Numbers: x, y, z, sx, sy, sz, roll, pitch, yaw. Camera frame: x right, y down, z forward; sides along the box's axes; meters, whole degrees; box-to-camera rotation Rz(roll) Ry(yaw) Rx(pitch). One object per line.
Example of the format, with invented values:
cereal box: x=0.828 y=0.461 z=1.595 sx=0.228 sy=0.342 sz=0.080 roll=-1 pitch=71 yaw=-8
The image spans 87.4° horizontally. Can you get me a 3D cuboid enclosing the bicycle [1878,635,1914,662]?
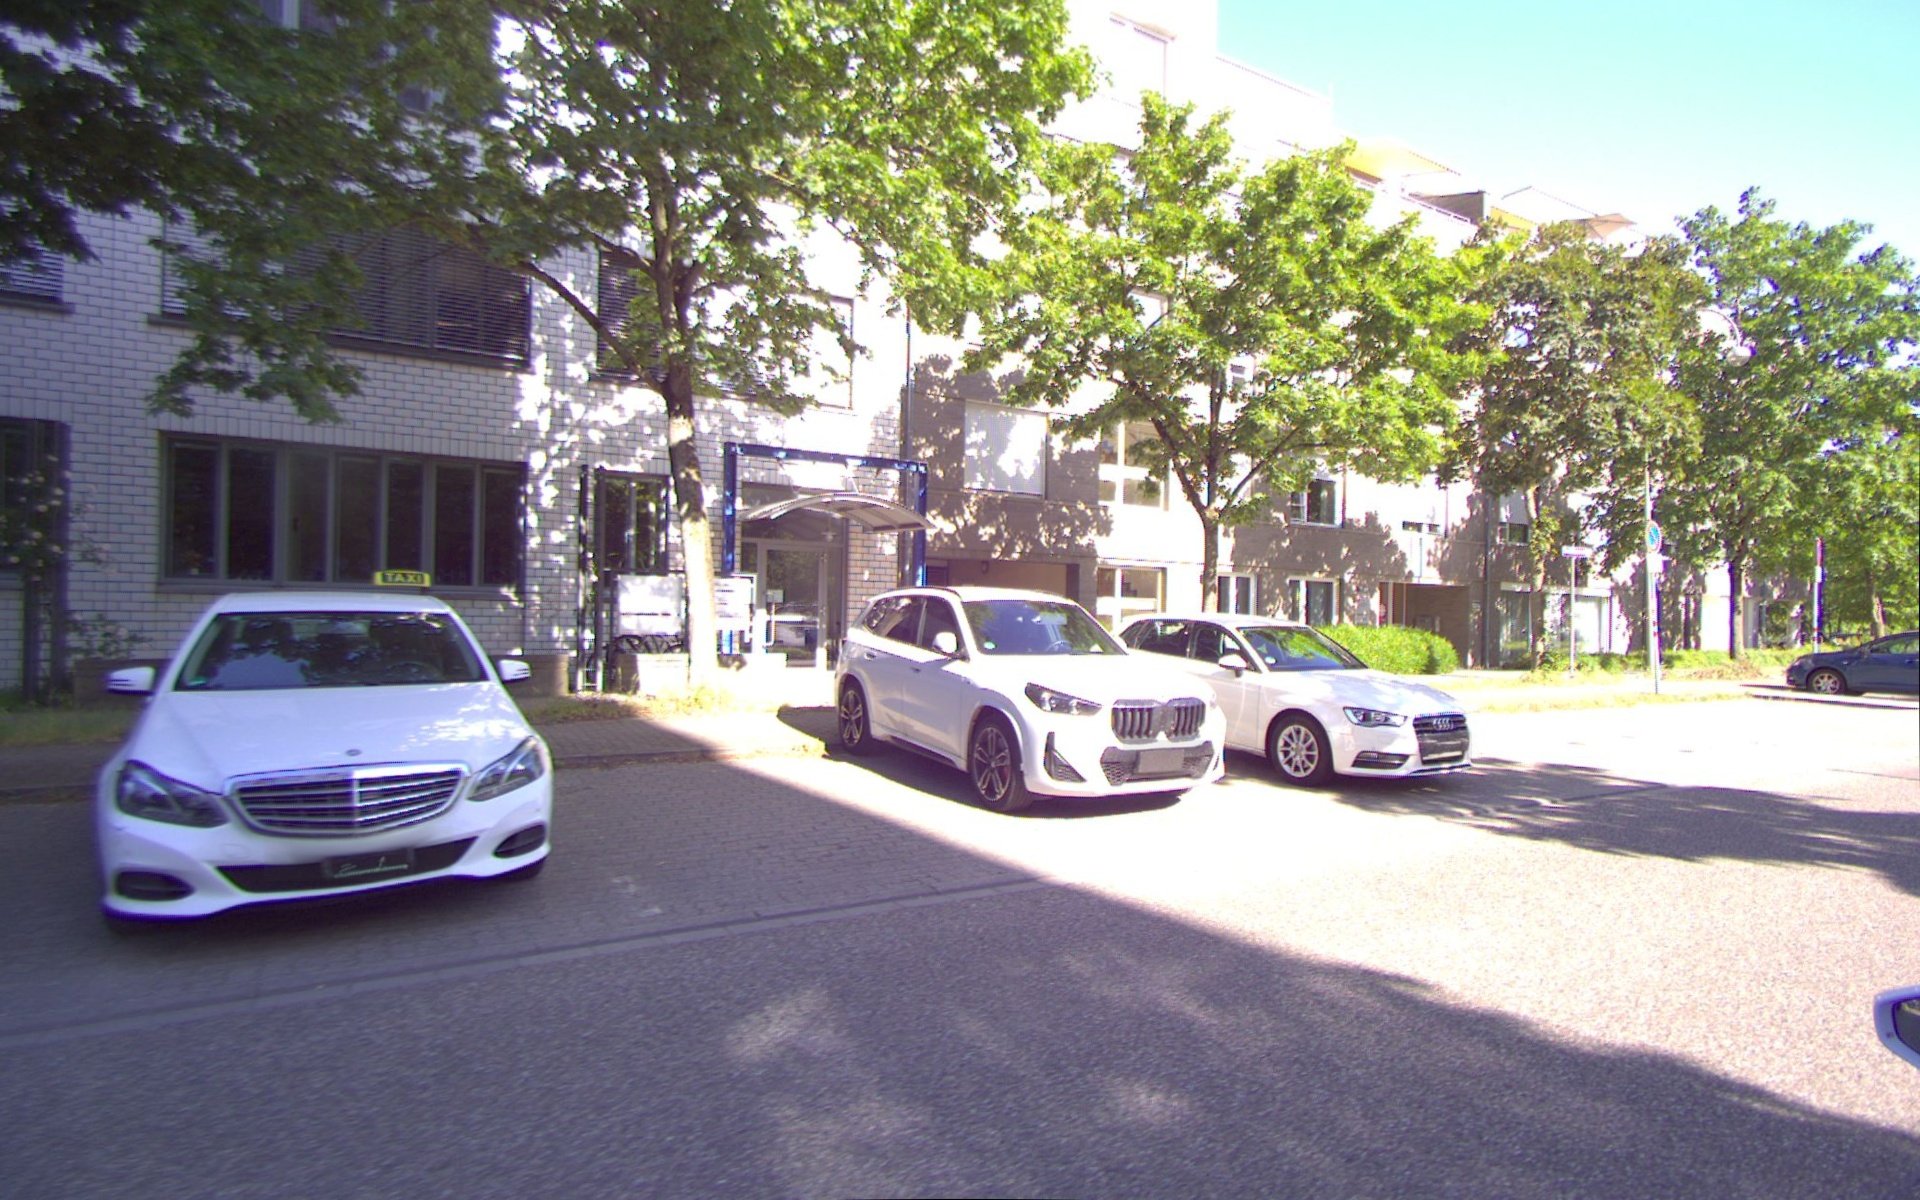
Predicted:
bicycle: x=37.065 y=1.917 z=39.749 sx=2.167 sy=1.061 sz=0.435 roll=2 pitch=0 yaw=-31

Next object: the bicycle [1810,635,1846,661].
bicycle: x=35.951 y=1.993 z=41.605 sx=2.167 sy=1.061 sz=0.435 roll=2 pitch=0 yaw=-31

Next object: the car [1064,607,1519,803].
car: x=3.036 y=0.848 z=10.123 sx=1.779 sy=1.499 sz=4.237 roll=1 pitch=-1 yaw=-31

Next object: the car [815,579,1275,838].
car: x=0.430 y=0.692 z=8.747 sx=1.930 sy=1.624 sz=4.205 roll=2 pitch=0 yaw=-29

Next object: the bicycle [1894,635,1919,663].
bicycle: x=37.308 y=1.920 z=39.334 sx=2.167 sy=1.061 sz=0.435 roll=2 pitch=0 yaw=-31

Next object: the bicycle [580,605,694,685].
bicycle: x=-4.985 y=0.690 z=15.549 sx=1.609 sy=1.191 sz=0.336 roll=2 pitch=0 yaw=-31

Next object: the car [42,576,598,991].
car: x=-3.745 y=0.638 z=6.023 sx=1.921 sy=1.471 sz=4.480 roll=1 pitch=1 yaw=-34

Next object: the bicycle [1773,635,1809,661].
bicycle: x=35.517 y=2.061 z=42.920 sx=2.167 sy=1.061 sz=0.435 roll=2 pitch=0 yaw=-31

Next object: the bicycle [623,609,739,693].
bicycle: x=-4.147 y=0.754 z=14.973 sx=1.609 sy=1.191 sz=0.336 roll=2 pitch=0 yaw=-31

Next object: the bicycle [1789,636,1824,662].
bicycle: x=35.779 y=2.055 z=42.455 sx=2.167 sy=1.061 sz=0.435 roll=2 pitch=0 yaw=-31

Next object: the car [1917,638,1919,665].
car: x=54.394 y=2.771 z=53.959 sx=1.605 sy=1.470 sz=4.061 roll=2 pitch=-3 yaw=-28

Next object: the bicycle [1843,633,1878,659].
bicycle: x=37.593 y=1.934 z=41.915 sx=2.167 sy=1.061 sz=0.435 roll=2 pitch=0 yaw=-31

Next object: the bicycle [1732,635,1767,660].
bicycle: x=34.729 y=2.099 z=44.165 sx=2.167 sy=1.061 sz=0.435 roll=2 pitch=0 yaw=-31

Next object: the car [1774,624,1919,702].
car: x=19.004 y=1.267 z=20.008 sx=1.798 sy=1.430 sz=3.963 roll=2 pitch=0 yaw=-33
